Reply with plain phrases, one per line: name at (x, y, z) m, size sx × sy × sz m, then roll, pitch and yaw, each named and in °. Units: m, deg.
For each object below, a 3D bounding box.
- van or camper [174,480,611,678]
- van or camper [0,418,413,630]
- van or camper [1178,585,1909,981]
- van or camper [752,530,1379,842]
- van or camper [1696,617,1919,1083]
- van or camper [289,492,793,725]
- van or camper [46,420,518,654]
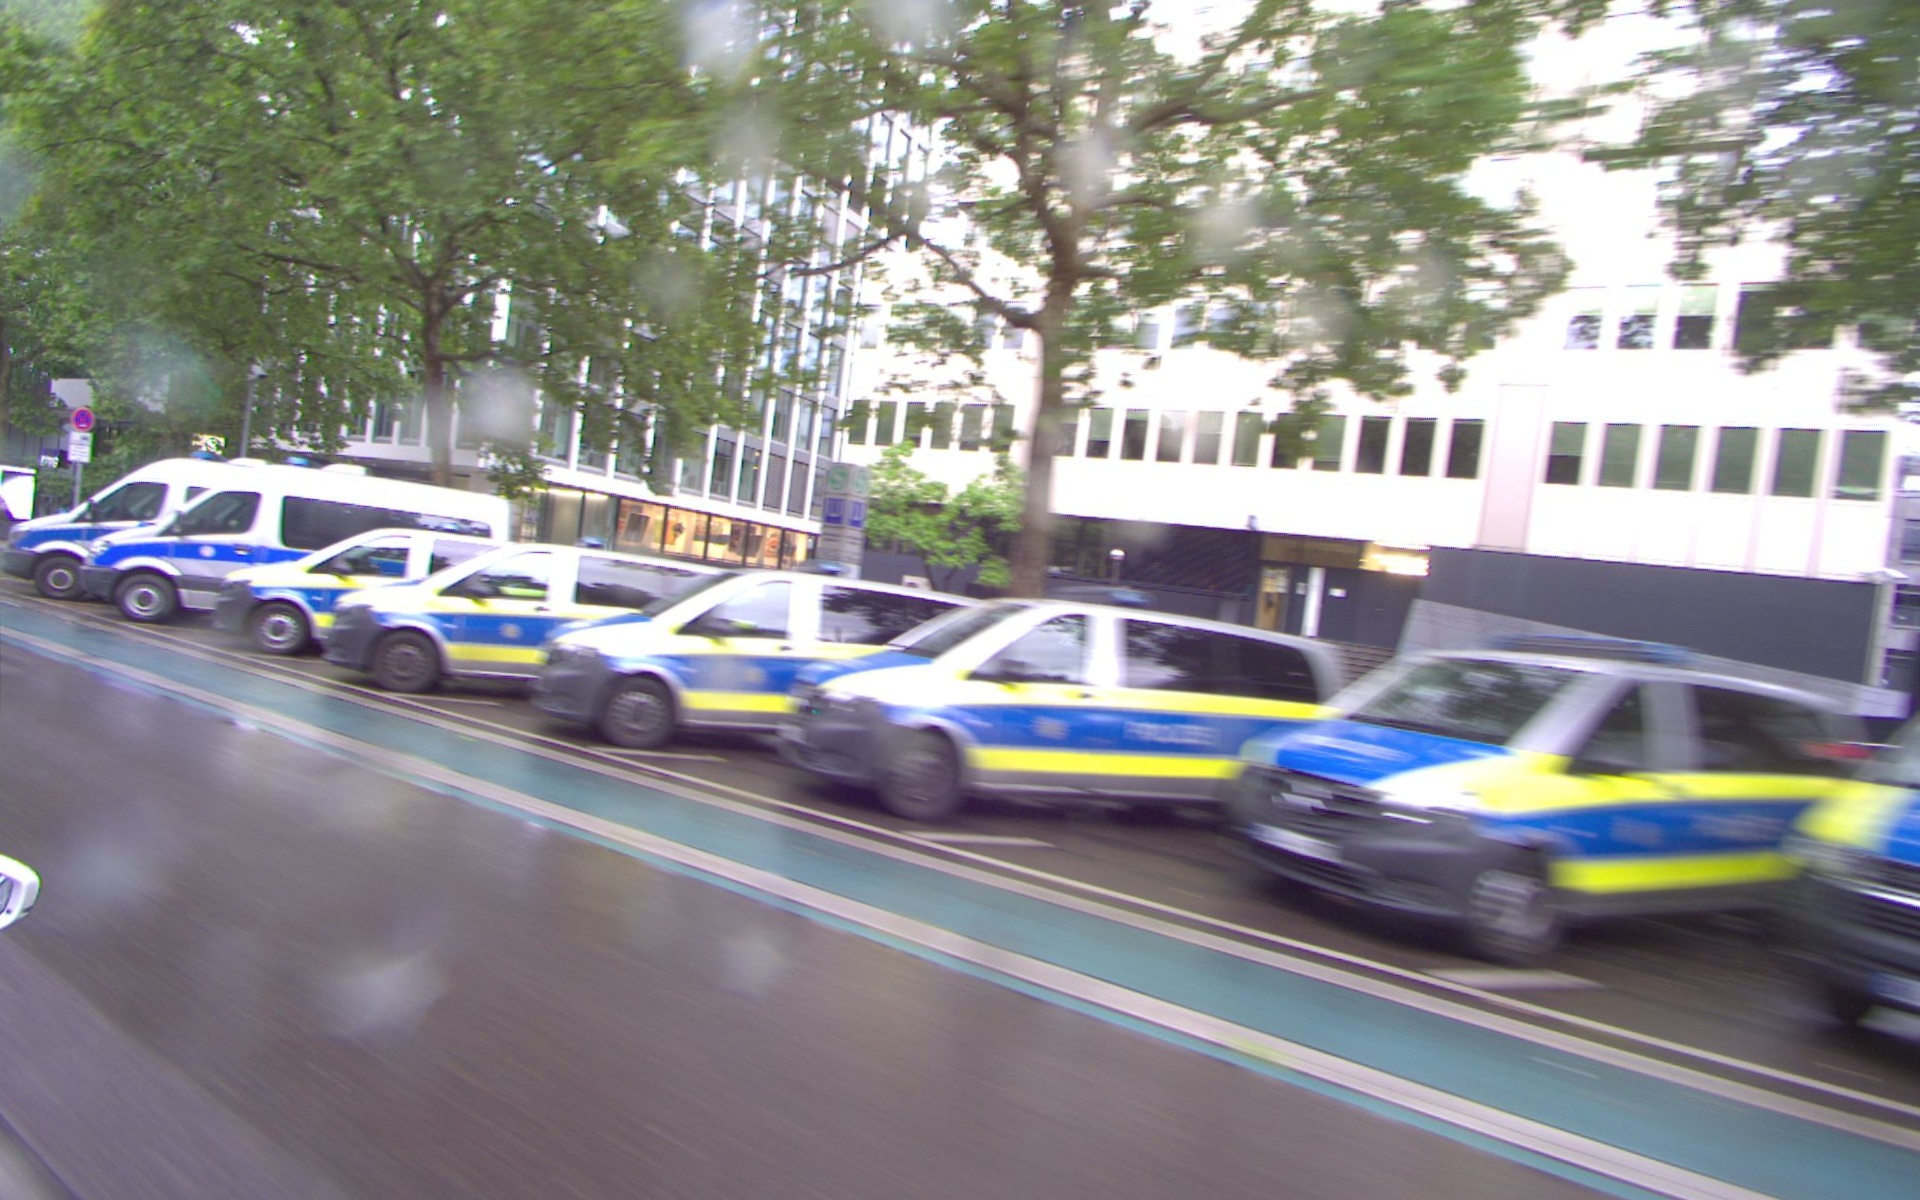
van or camper at (-7.743, -0.197, 14.351) m, size 4.951 × 2.037 × 1.990 m, roll 7°, pitch -1°, yaw -23°
van or camper at (-13.142, -1.200, 17.674) m, size 5.737 × 2.710 × 2.137 m, roll 8°, pitch 0°, yaw -22°
van or camper at (4.260, 1.225, 7.220) m, size 4.963 × 2.019 × 1.987 m, roll 7°, pitch 0°, yaw -26°
van or camper at (0.928, 0.803, 9.047) m, size 5.038 × 2.049 × 2.096 m, roll 8°, pitch 0°, yaw -21°
van or camper at (6.530, 1.415, 5.304) m, size 4.731 × 2.035 × 1.990 m, roll 8°, pitch -1°, yaw -23°
van or camper at (-4.924, 0.204, 12.433) m, size 5.144 × 2.015 × 1.989 m, roll 8°, pitch -2°, yaw -24°
van or camper at (-10.331, -0.852, 16.033) m, size 5.736 × 2.713 × 1.989 m, roll 7°, pitch 0°, yaw -24°
